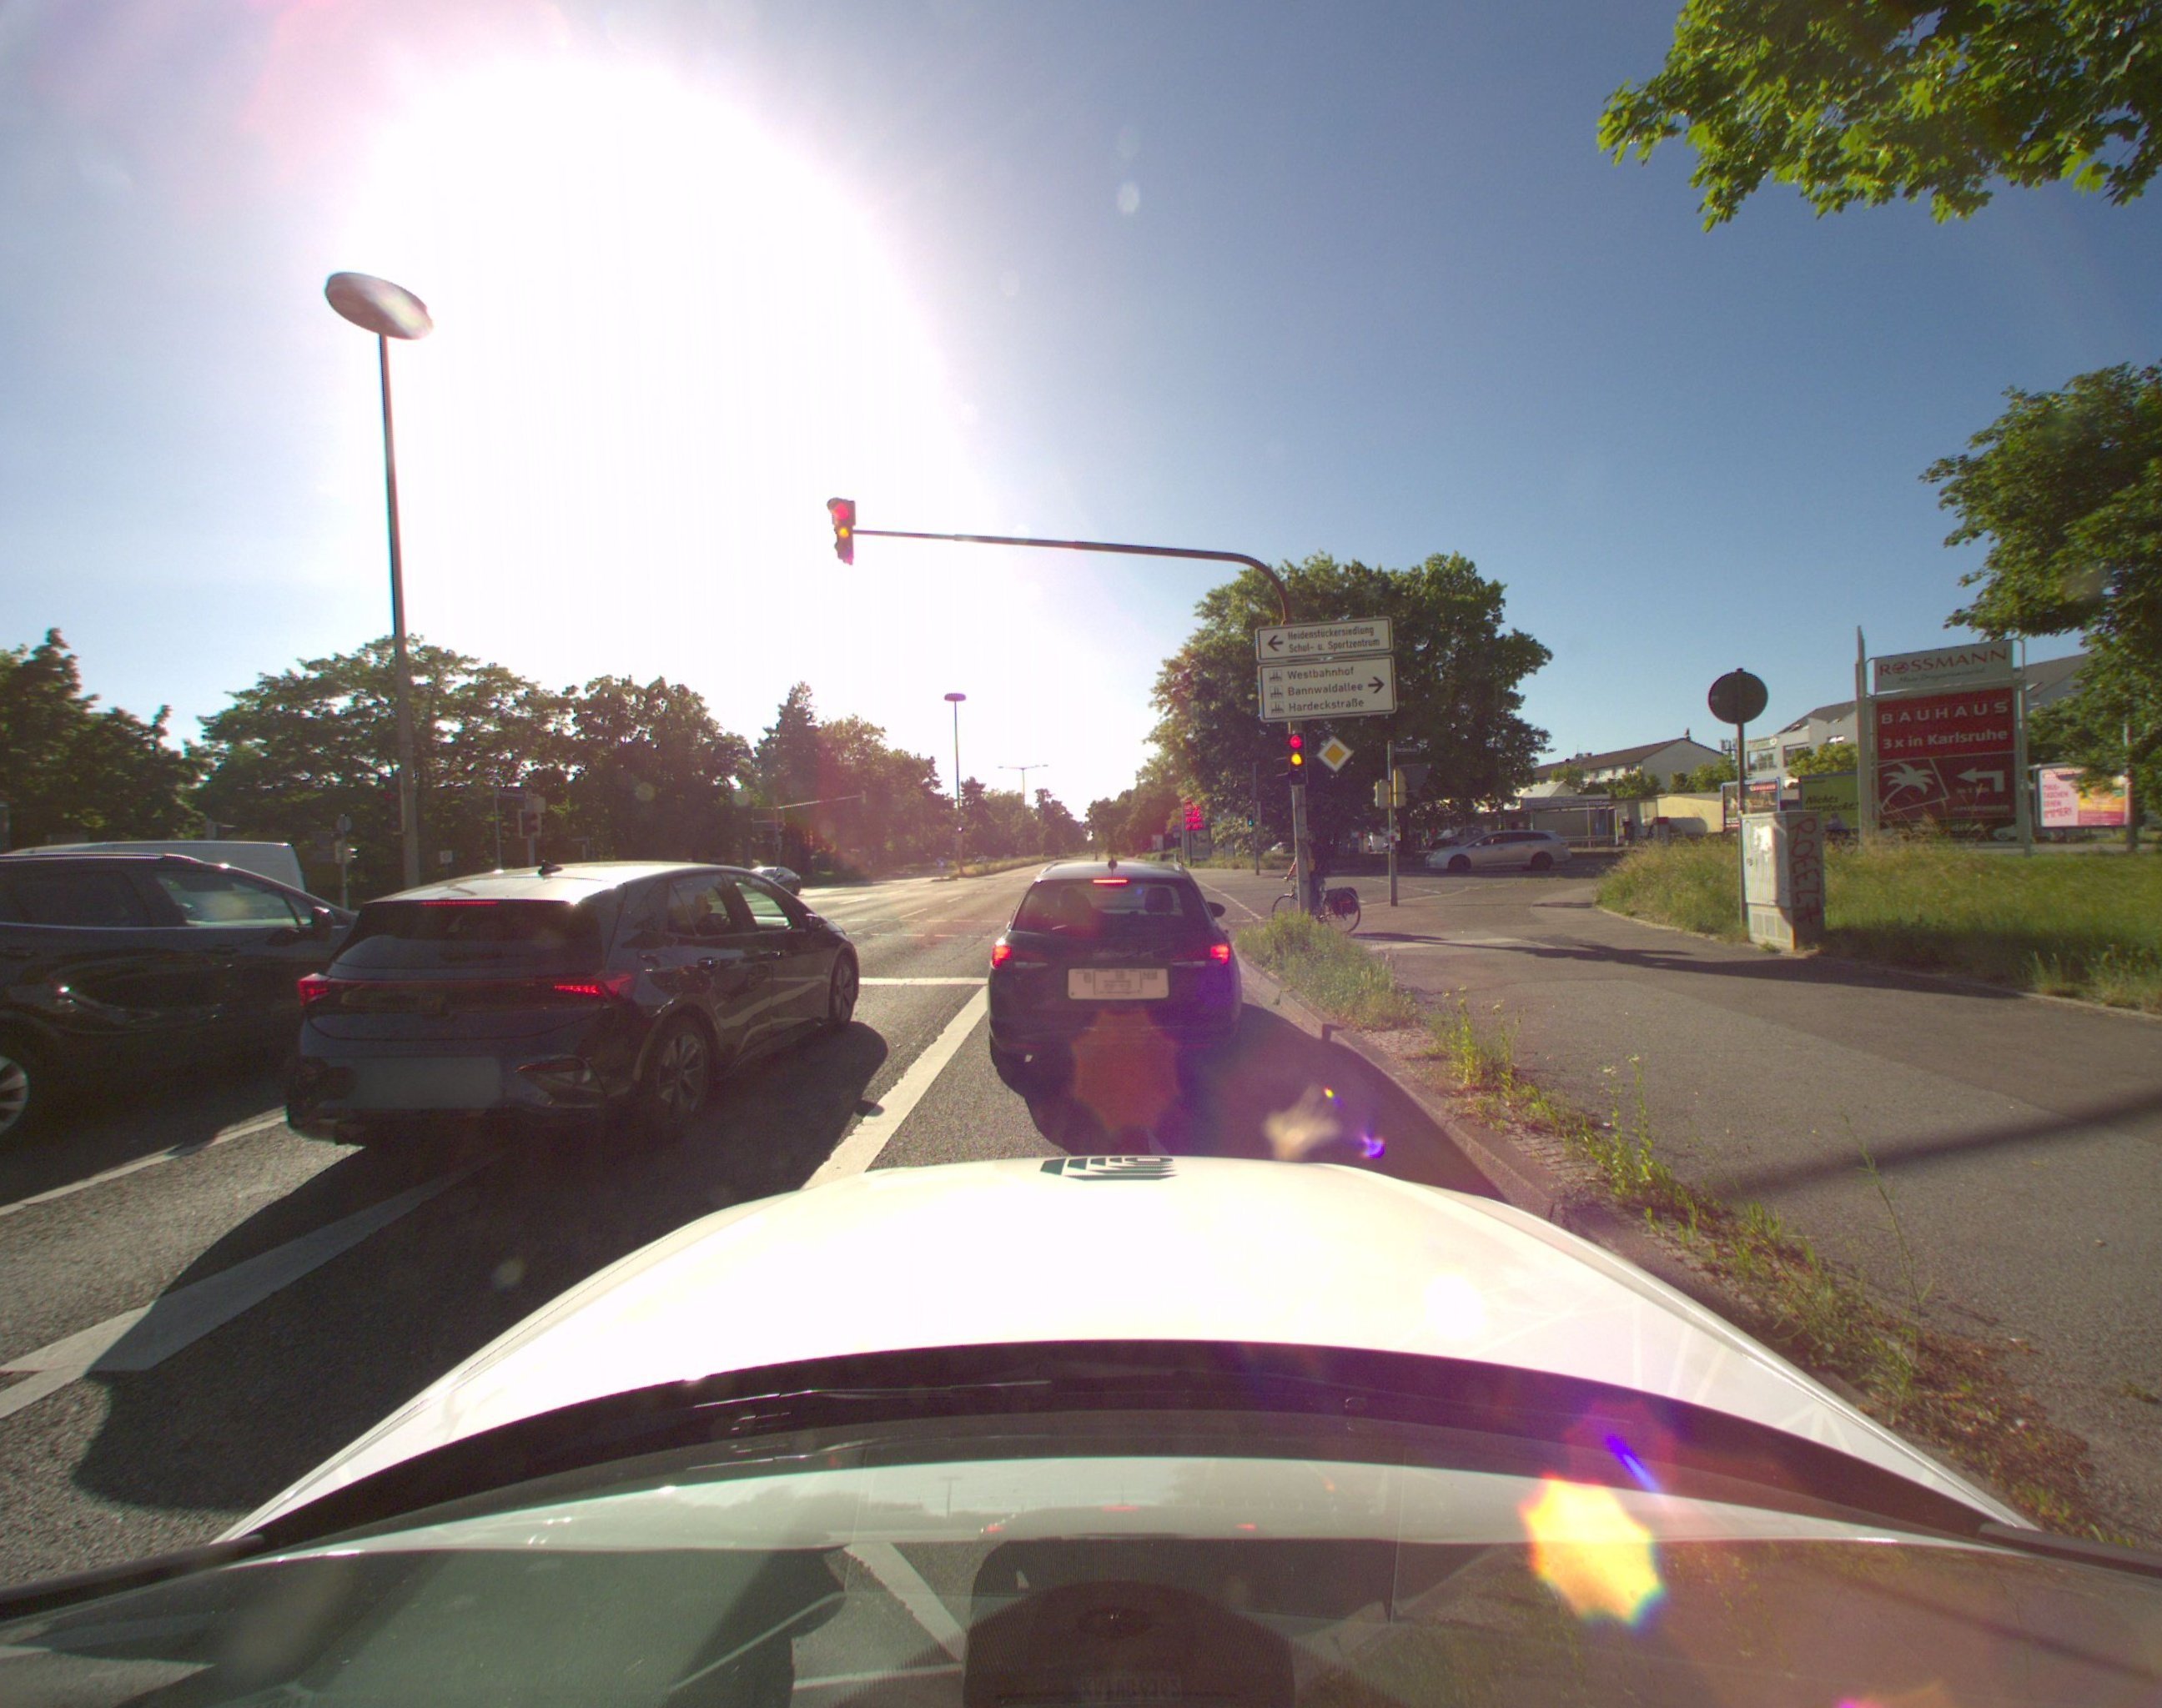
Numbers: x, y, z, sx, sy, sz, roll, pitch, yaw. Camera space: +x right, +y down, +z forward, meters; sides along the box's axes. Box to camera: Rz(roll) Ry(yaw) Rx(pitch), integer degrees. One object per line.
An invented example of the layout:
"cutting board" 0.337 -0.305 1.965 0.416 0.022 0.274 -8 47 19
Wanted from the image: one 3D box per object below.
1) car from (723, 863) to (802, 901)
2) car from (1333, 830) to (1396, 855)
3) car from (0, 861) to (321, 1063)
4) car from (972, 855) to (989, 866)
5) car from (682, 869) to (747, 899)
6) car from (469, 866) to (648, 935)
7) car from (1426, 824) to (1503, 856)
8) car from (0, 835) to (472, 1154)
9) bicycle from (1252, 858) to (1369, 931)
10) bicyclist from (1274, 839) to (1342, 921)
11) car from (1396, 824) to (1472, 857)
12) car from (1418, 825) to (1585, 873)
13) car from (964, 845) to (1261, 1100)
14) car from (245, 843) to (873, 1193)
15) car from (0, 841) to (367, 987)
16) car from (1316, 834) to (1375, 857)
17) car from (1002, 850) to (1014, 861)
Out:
"car" -14.395 1.234 37.092 1.769 1.463 4.166 -3 0 2
"car" 19.668 -0.820 56.435 3.903 1.517 1.733 -3 0 -21
"car" -10.218 0.983 7.923 1.824 1.702 3.999 -3 0 0
"car" -16.066 1.029 130.384 1.986 1.530 4.001 -3 0 1
"car" -17.782 1.427 39.691 1.384 1.235 3.637 -3 0 2
"car" -14.765 1.232 23.405 1.986 1.601 4.617 -3 0 2
"car" 22.383 -0.813 47.528 4.002 1.680 1.733 -3 0 -21
"car" -6.614 0.783 5.521 1.798 1.689 4.002 -3 0 2
"bicycle" 3.737 0.684 13.374 0.541 1.097 1.755 -3 -2 -42
"bicyclist" 3.722 0.434 13.376 0.541 1.277 0.819 -3 -2 -42
"car" 21.403 -0.809 49.377 4.003 1.750 1.985 -3 0 -22
"car" 14.969 -0.168 29.295 4.969 1.486 2.007 -2 0 13
"car" 0.255 0.721 6.967 1.750 1.495 4.208 -1 0 2
"car" -2.954 0.768 5.858 1.678 1.580 4.208 -1 0 2
"car" -18.751 1.054 17.045 2.092 2.492 6.006 -3 0 2
"car" 19.333 -0.613 59.527 3.903 1.517 1.733 -3 0 -21
"car" -14.749 0.301 164.685 1.986 2.013 4.001 -3 0 1
